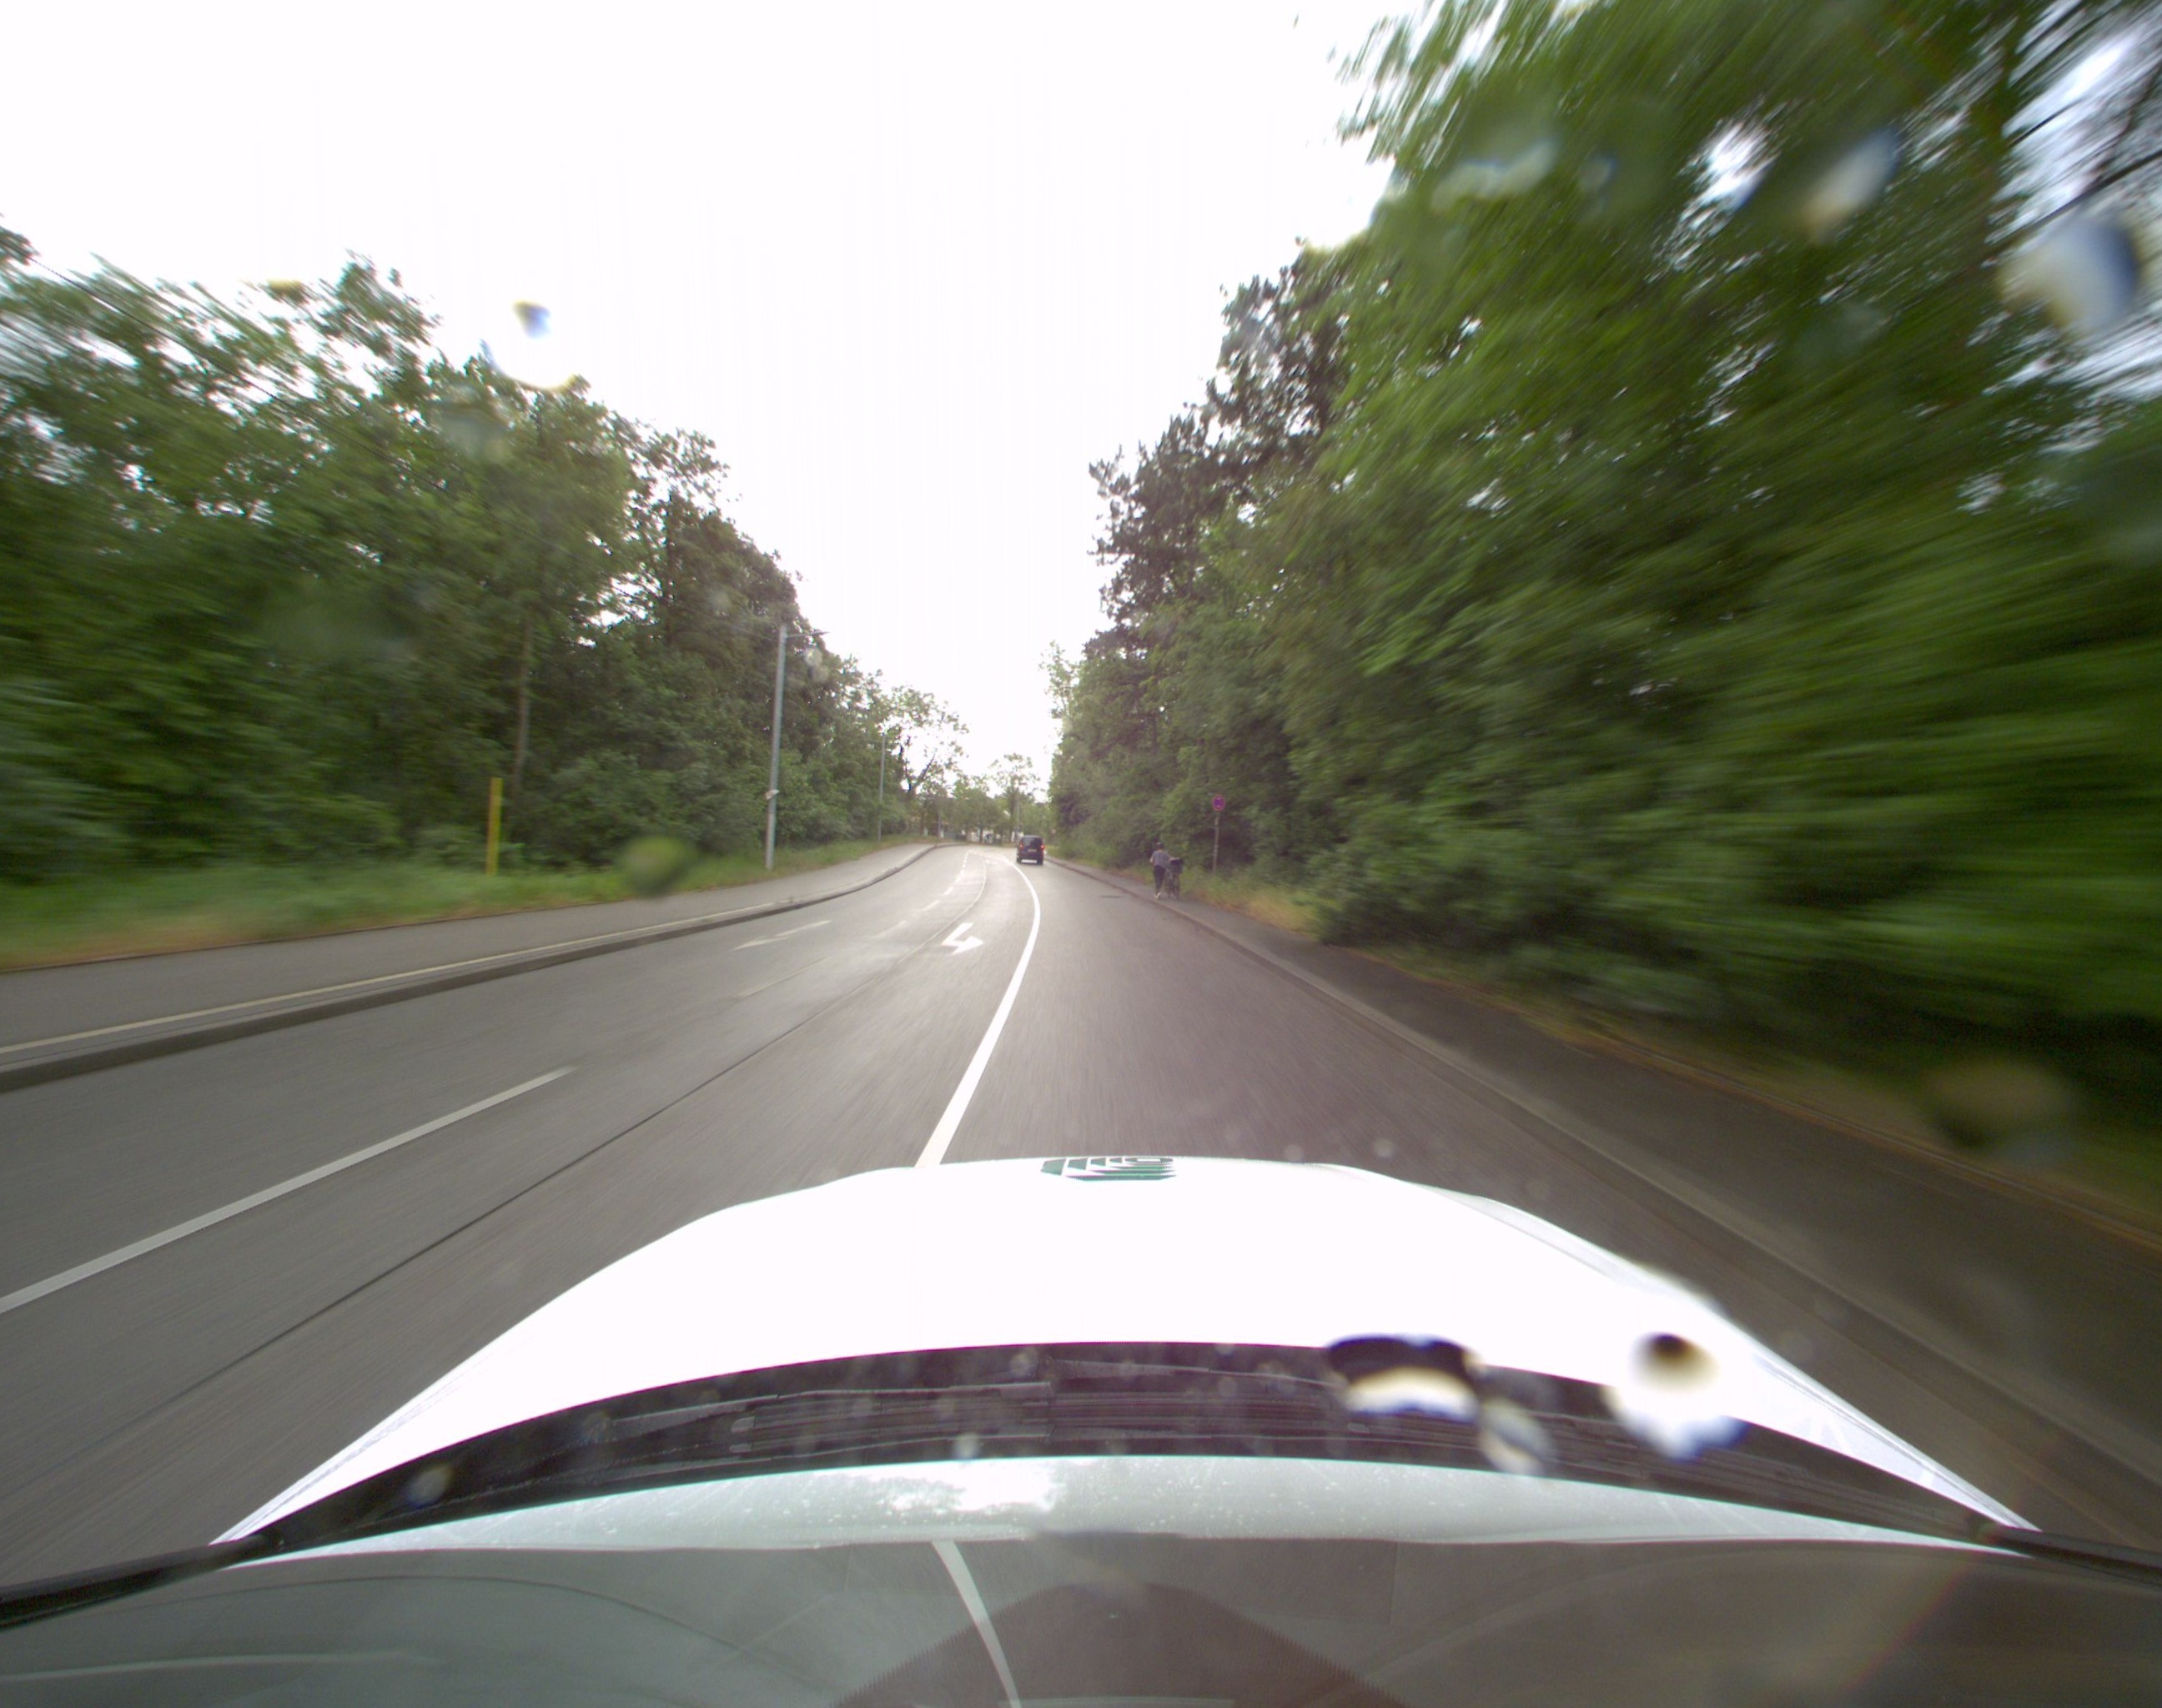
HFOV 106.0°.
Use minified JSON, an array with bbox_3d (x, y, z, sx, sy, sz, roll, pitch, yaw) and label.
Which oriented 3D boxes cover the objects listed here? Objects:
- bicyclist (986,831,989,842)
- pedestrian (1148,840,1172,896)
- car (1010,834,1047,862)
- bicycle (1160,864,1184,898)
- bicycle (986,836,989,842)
[{"bbox_3d":[-12.908,-2.434,112.724,0.335,1.574,1.296,2,1,-4],"label":"bicyclist"},{"bbox_3d":[2.230,0.399,23.107,0.563,1.577,0.768,0,-2,-4],"label":"pedestrian"},{"bbox_3d":[-3.539,-0.374,54.280,1.829,1.794,3.982,0,-1,-13],"label":"car"},{"bbox_3d":[2.565,0.739,23.139,0.355,0.849,1.740,-2,2,-4],"label":"bicycle"},{"bbox_3d":[-12.916,-2.079,112.735,0.355,0.849,2.091,1,2,-4],"label":"bicycle"}]
